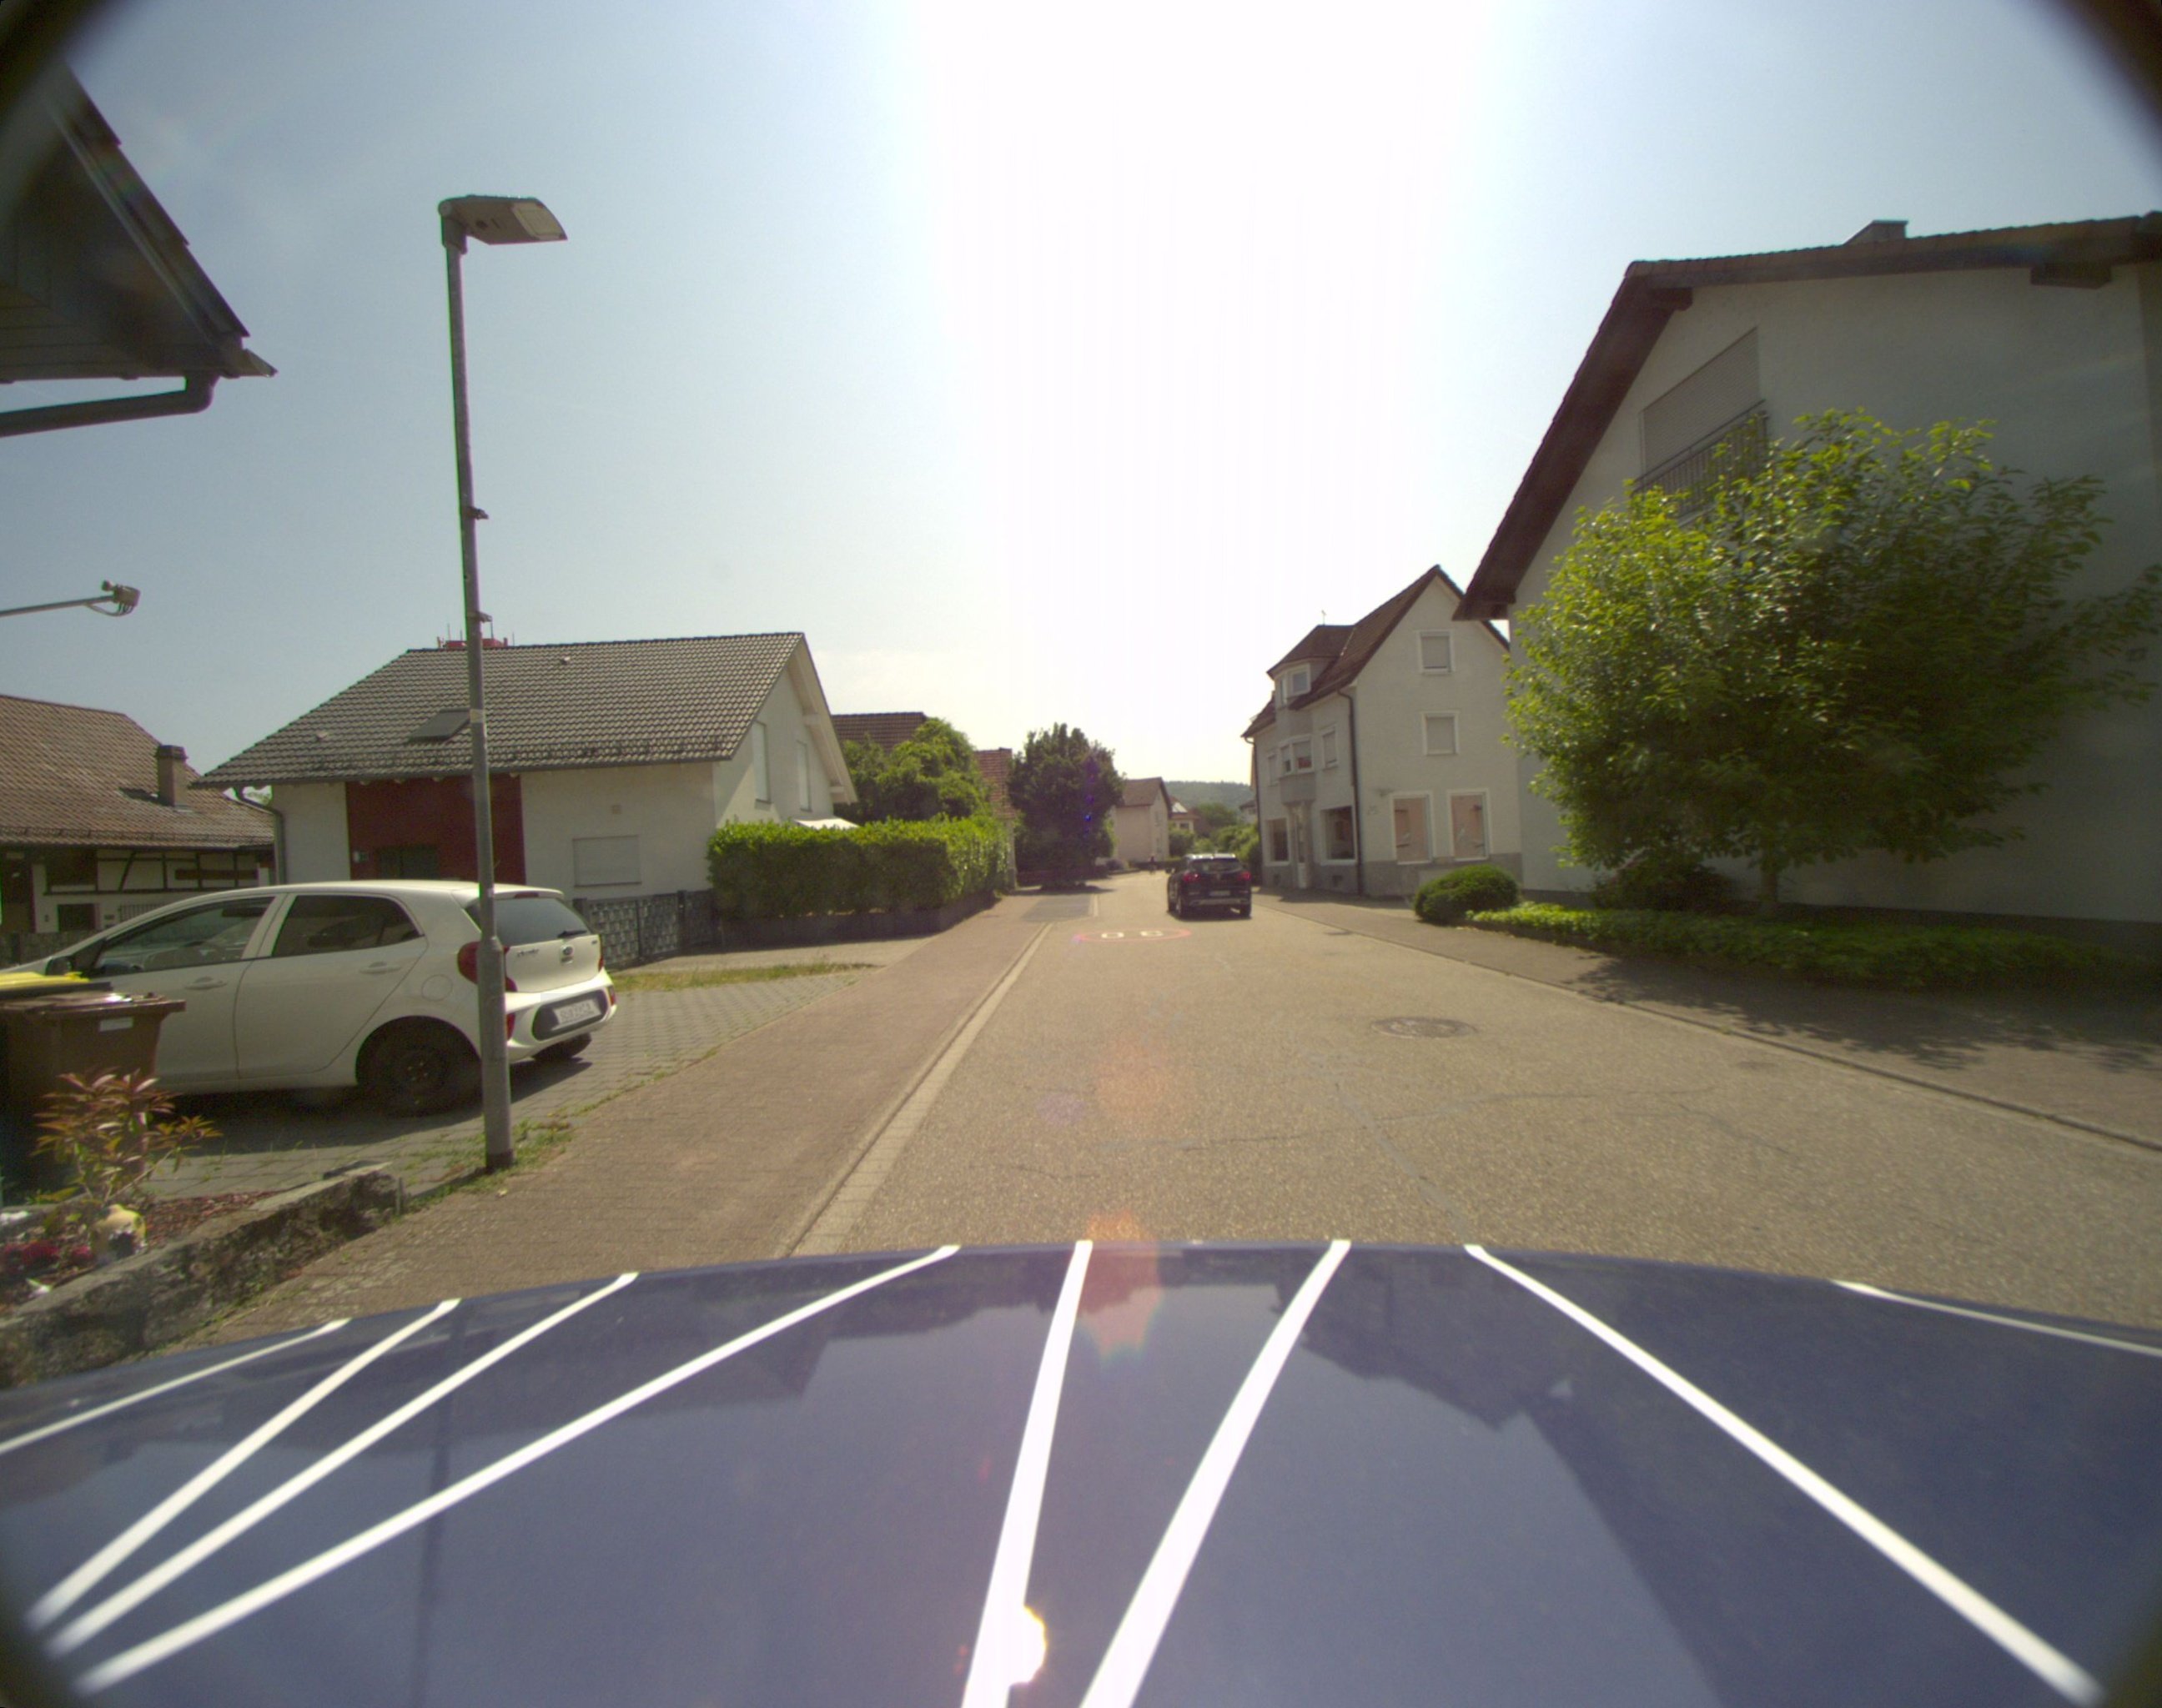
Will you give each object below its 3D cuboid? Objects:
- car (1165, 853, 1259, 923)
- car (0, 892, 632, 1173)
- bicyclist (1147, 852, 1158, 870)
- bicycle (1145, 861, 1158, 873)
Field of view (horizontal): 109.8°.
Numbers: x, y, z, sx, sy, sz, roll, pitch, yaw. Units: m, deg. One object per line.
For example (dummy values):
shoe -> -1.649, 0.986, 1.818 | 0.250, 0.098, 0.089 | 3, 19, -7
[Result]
car -> 3.370, 0.842, 20.235 | 1.780, 1.613, 4.106 | -2, -1, 1
car -> -5.490, 1.074, 5.253 | 3.668, 1.465, 1.765 | -1, -1, -6
bicyclist -> 5.931, 0.568, 62.941 | 0.546, 1.481, 0.798 | -2, 1, 32
bicycle -> 5.838, 1.058, 62.756 | 0.520, 0.898, 1.315 | -3, 1, 32
